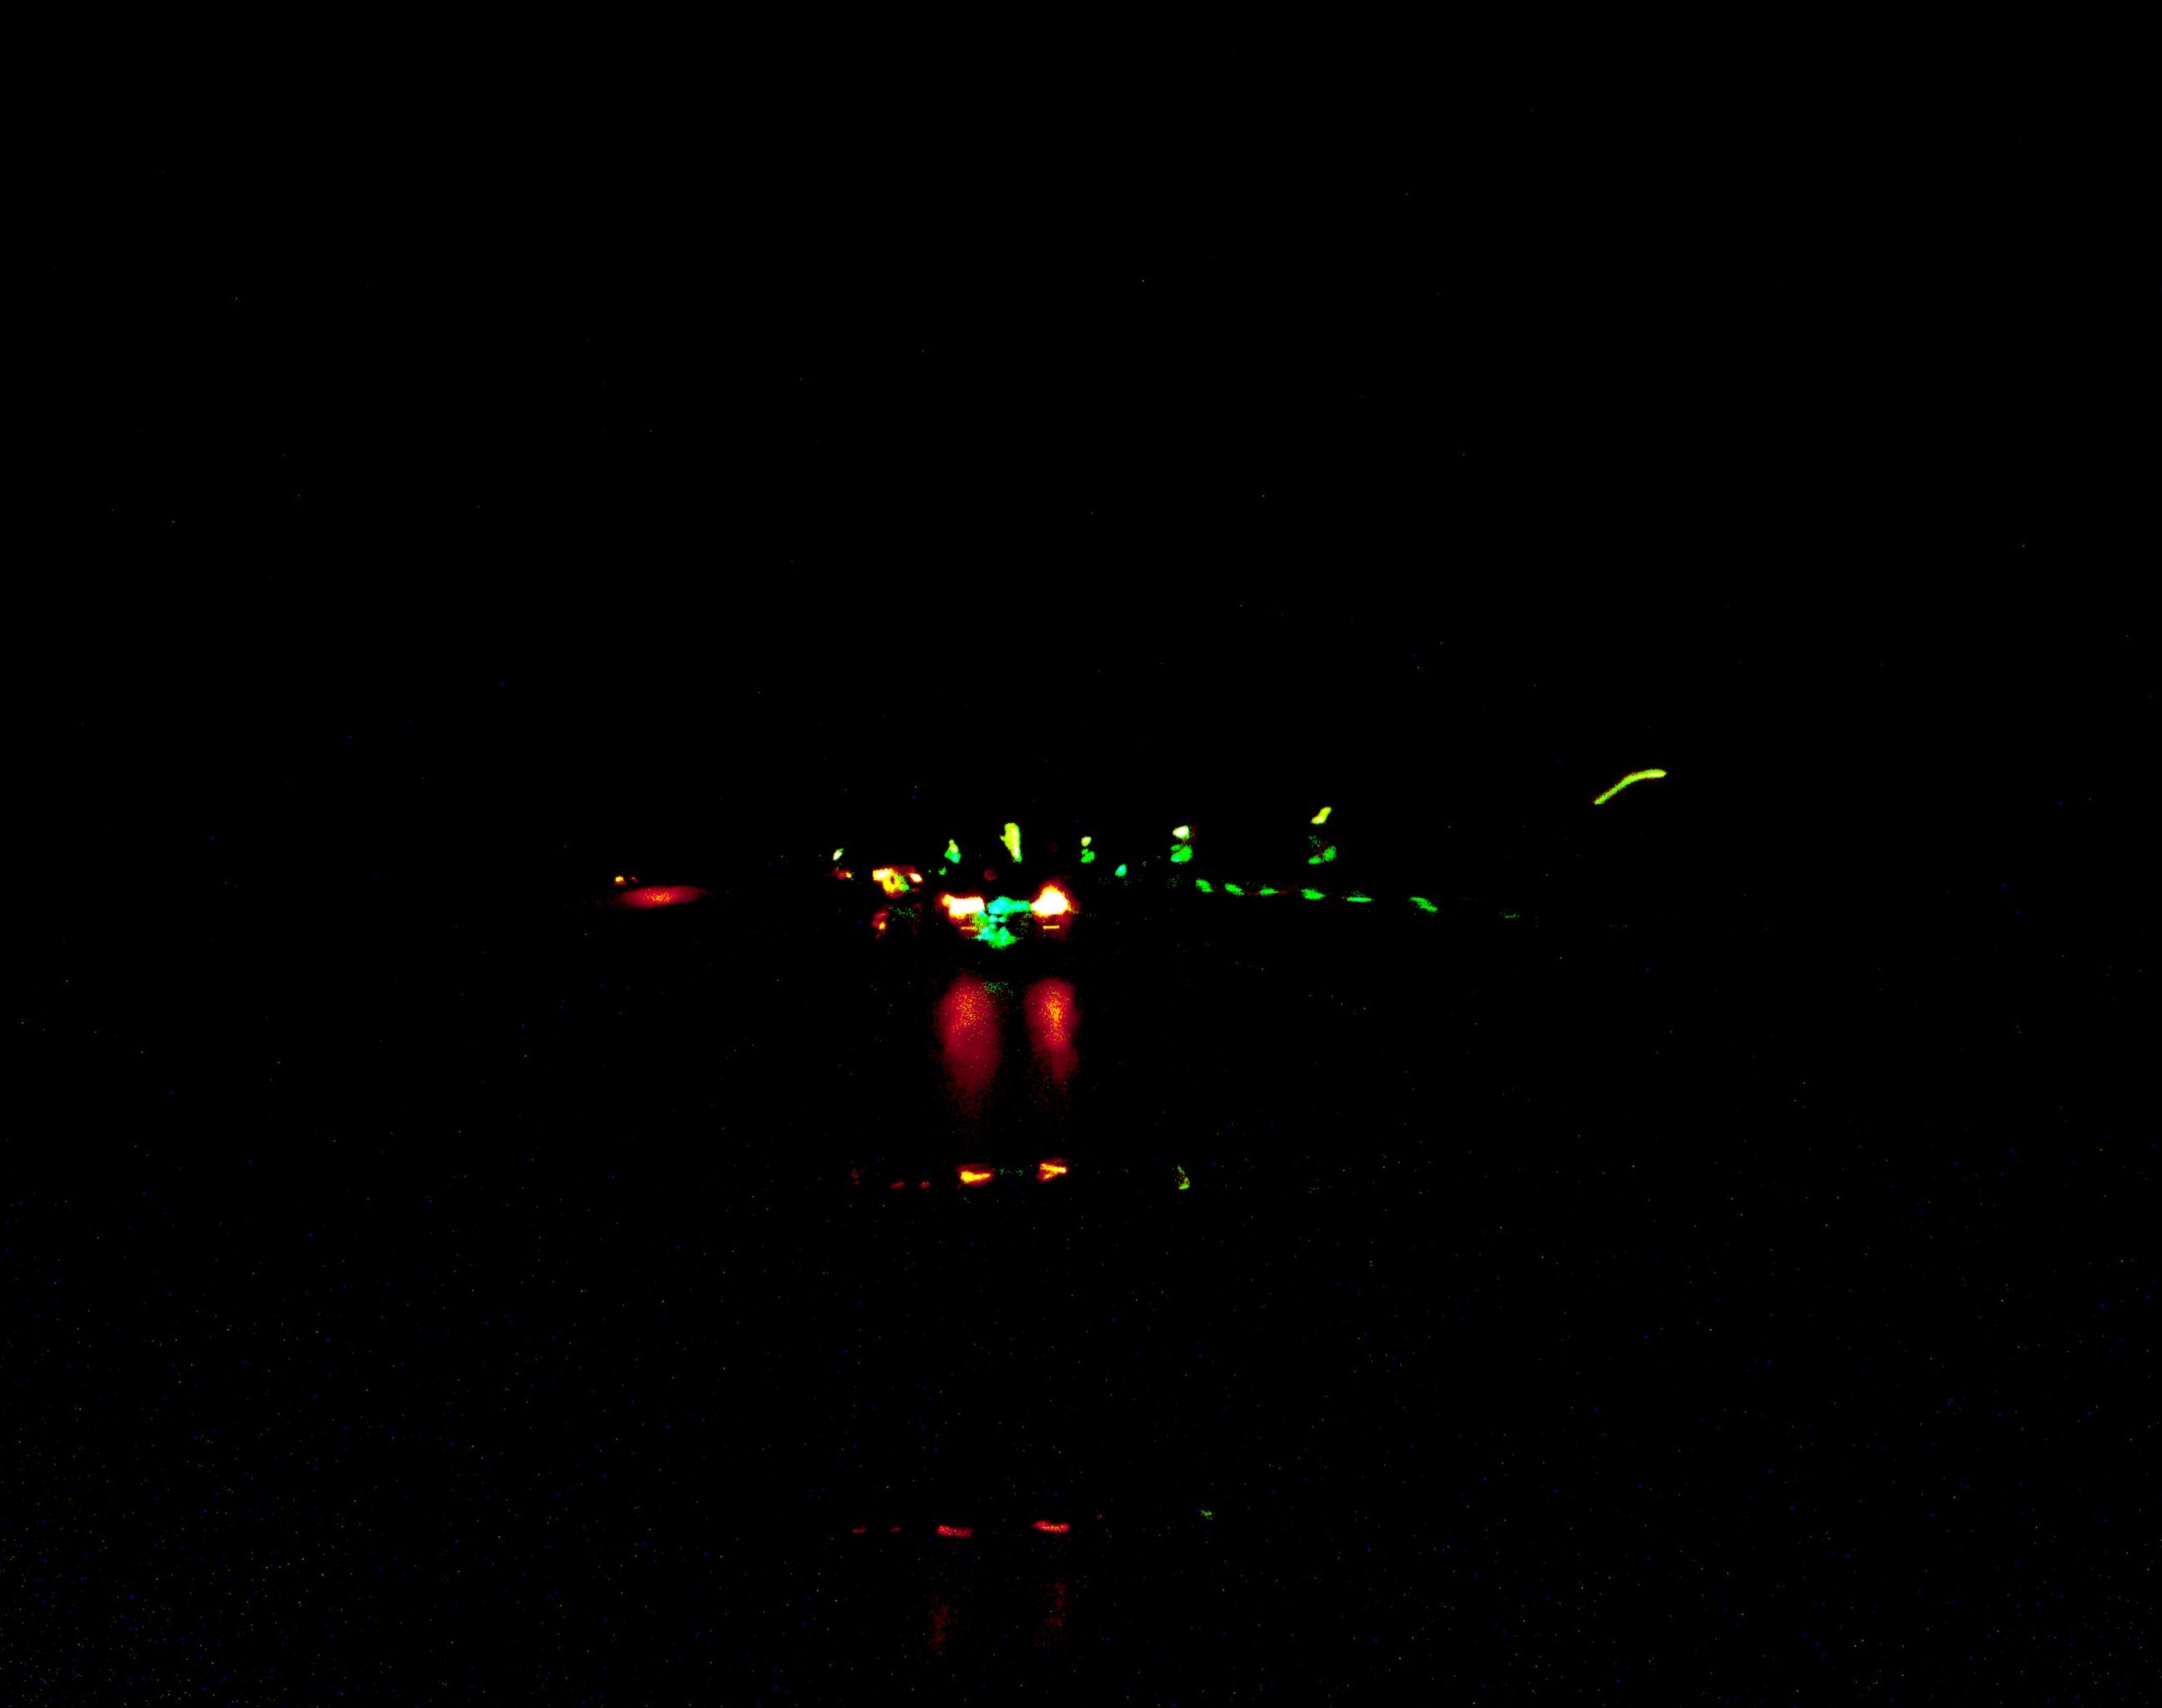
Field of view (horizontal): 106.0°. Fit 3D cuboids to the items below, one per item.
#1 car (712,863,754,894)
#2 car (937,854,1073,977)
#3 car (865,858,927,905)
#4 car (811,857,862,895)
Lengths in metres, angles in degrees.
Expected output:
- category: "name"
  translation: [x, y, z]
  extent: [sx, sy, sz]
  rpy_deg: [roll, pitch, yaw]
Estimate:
- category: "car"
  translation: [-24.159, 1.671, 56.523]
  extent: [1.909, 1.998, 4.002]
  rpy_deg: [-1, 0, -34]
- category: "car"
  translation: [-1.341, 0.857, 13.466]
  extent: [1.859, 1.647, 4.057]
  rpy_deg: [-2, 0, -8]
- category: "car"
  translation: [-7.387, 1.039, 32.226]
  extent: [1.902, 1.720, 4.018]
  rpy_deg: [0, 0, -20]
- category: "car"
  translation: [-13.671, 1.184, 45.420]
  extent: [1.907, 2.040, 4.007]
  rpy_deg: [0, -1, -30]
